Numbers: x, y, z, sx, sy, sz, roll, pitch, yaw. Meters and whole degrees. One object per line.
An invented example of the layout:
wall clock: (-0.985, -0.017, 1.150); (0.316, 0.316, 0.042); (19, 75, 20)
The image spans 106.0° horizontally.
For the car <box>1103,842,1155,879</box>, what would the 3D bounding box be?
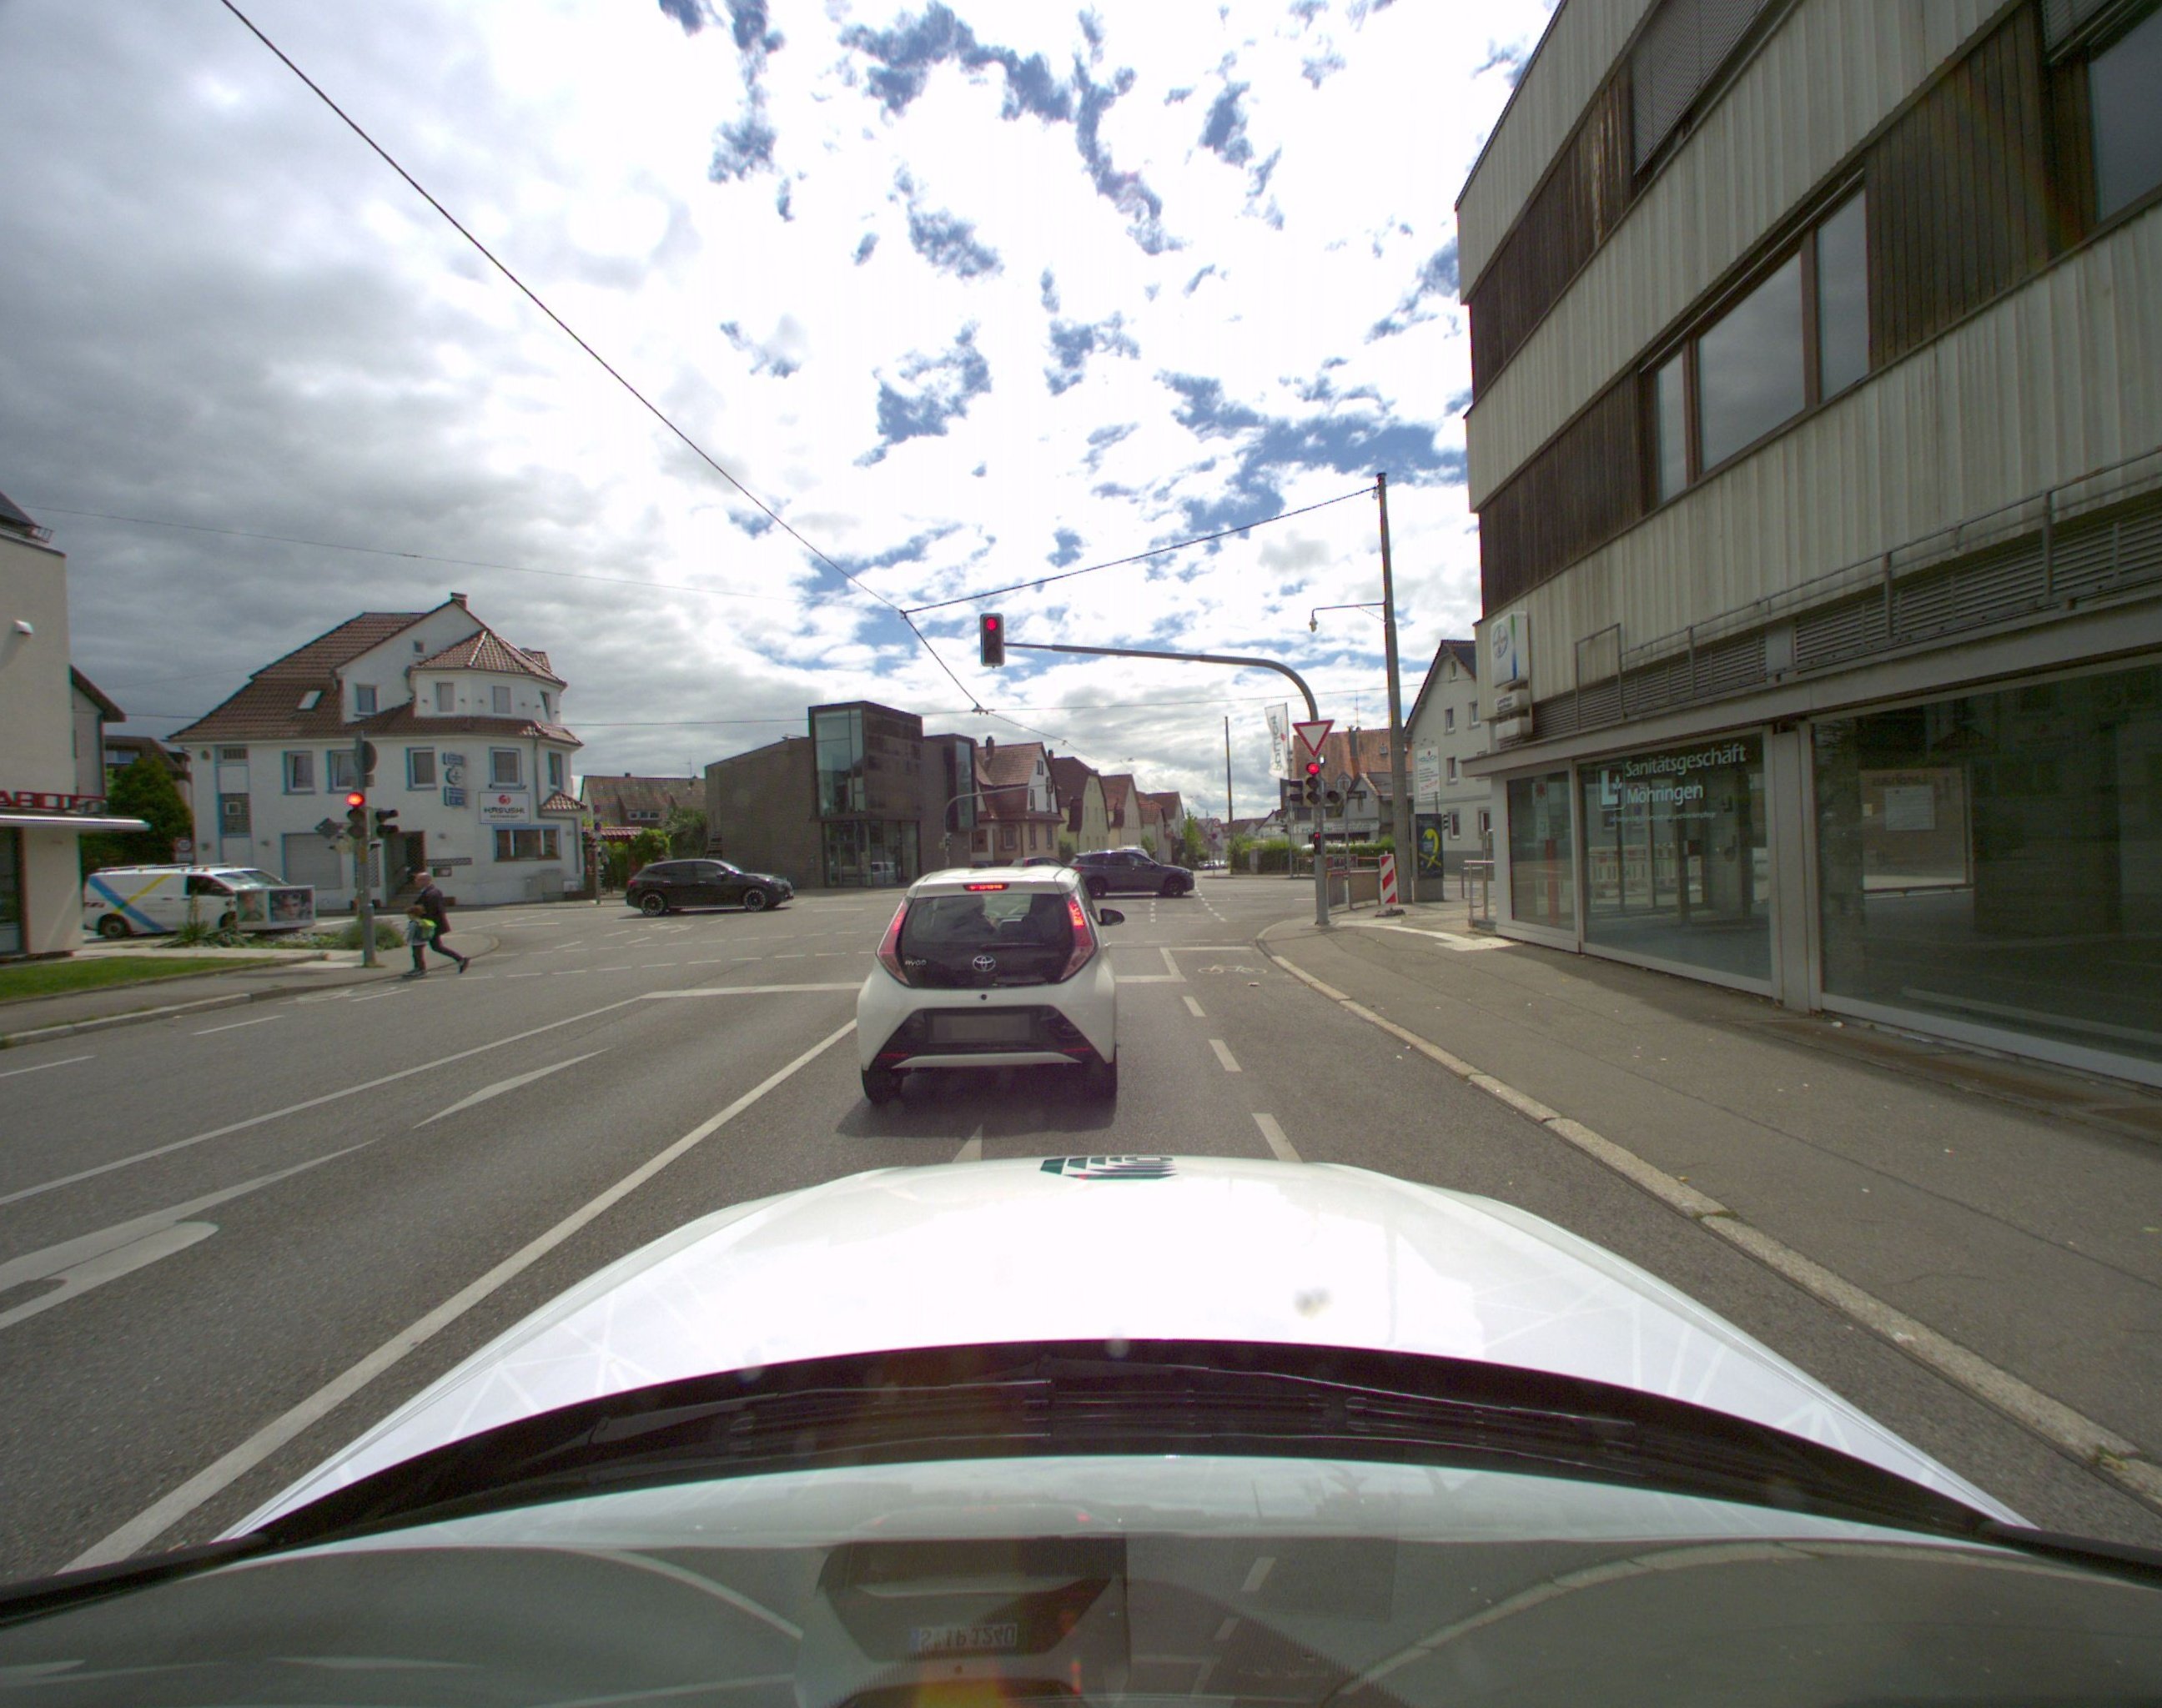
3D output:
car: (2.615, 0.326, 43.469); (1.979, 1.849, 4.089); (-1, 0, 15)

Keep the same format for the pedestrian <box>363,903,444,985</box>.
pedestrian: (-10.888, 1.433, 13.101); (0.732, 1.221, 0.644); (-2, 0, -6)

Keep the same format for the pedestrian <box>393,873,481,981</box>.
pedestrian: (-10.924, 1.213, 13.843); (0.821, 1.721, 0.816); (-2, 0, -5)

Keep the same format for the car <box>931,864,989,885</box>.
car: (-8.470, 1.411, 57.114); (3.589, 1.419, 1.697); (-1, 0, 13)

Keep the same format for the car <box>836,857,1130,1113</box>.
car: (-0.573, 0.776, 6.446); (1.692, 1.456, 3.298); (-1, 0, 0)

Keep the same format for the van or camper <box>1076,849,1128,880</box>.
van or camper: (1.454, 0.682, 53.898); (2.099, 1.926, 5.308); (-1, 0, 17)

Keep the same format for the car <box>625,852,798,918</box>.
car: (-11.525, 0.929, 25.712); (4.495, 1.742, 1.996); (-2, 2, -7)

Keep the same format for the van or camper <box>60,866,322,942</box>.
van or camper: (-26.166, 1.428, 24.144); (5.113, 2.077, 1.995); (0, 0, -8)

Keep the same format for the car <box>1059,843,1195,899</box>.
car: (1.525, 0.550, 27.907); (4.291, 1.675, 1.994); (-2, 0, -9)

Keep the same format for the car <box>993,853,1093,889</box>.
car: (-1.675, 0.705, 36.227); (4.017, 1.486, 1.978); (0, 0, -36)

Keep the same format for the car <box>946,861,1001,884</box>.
car: (-7.823, 1.316, 59.224); (3.589, 1.605, 1.697); (-1, 0, 13)
